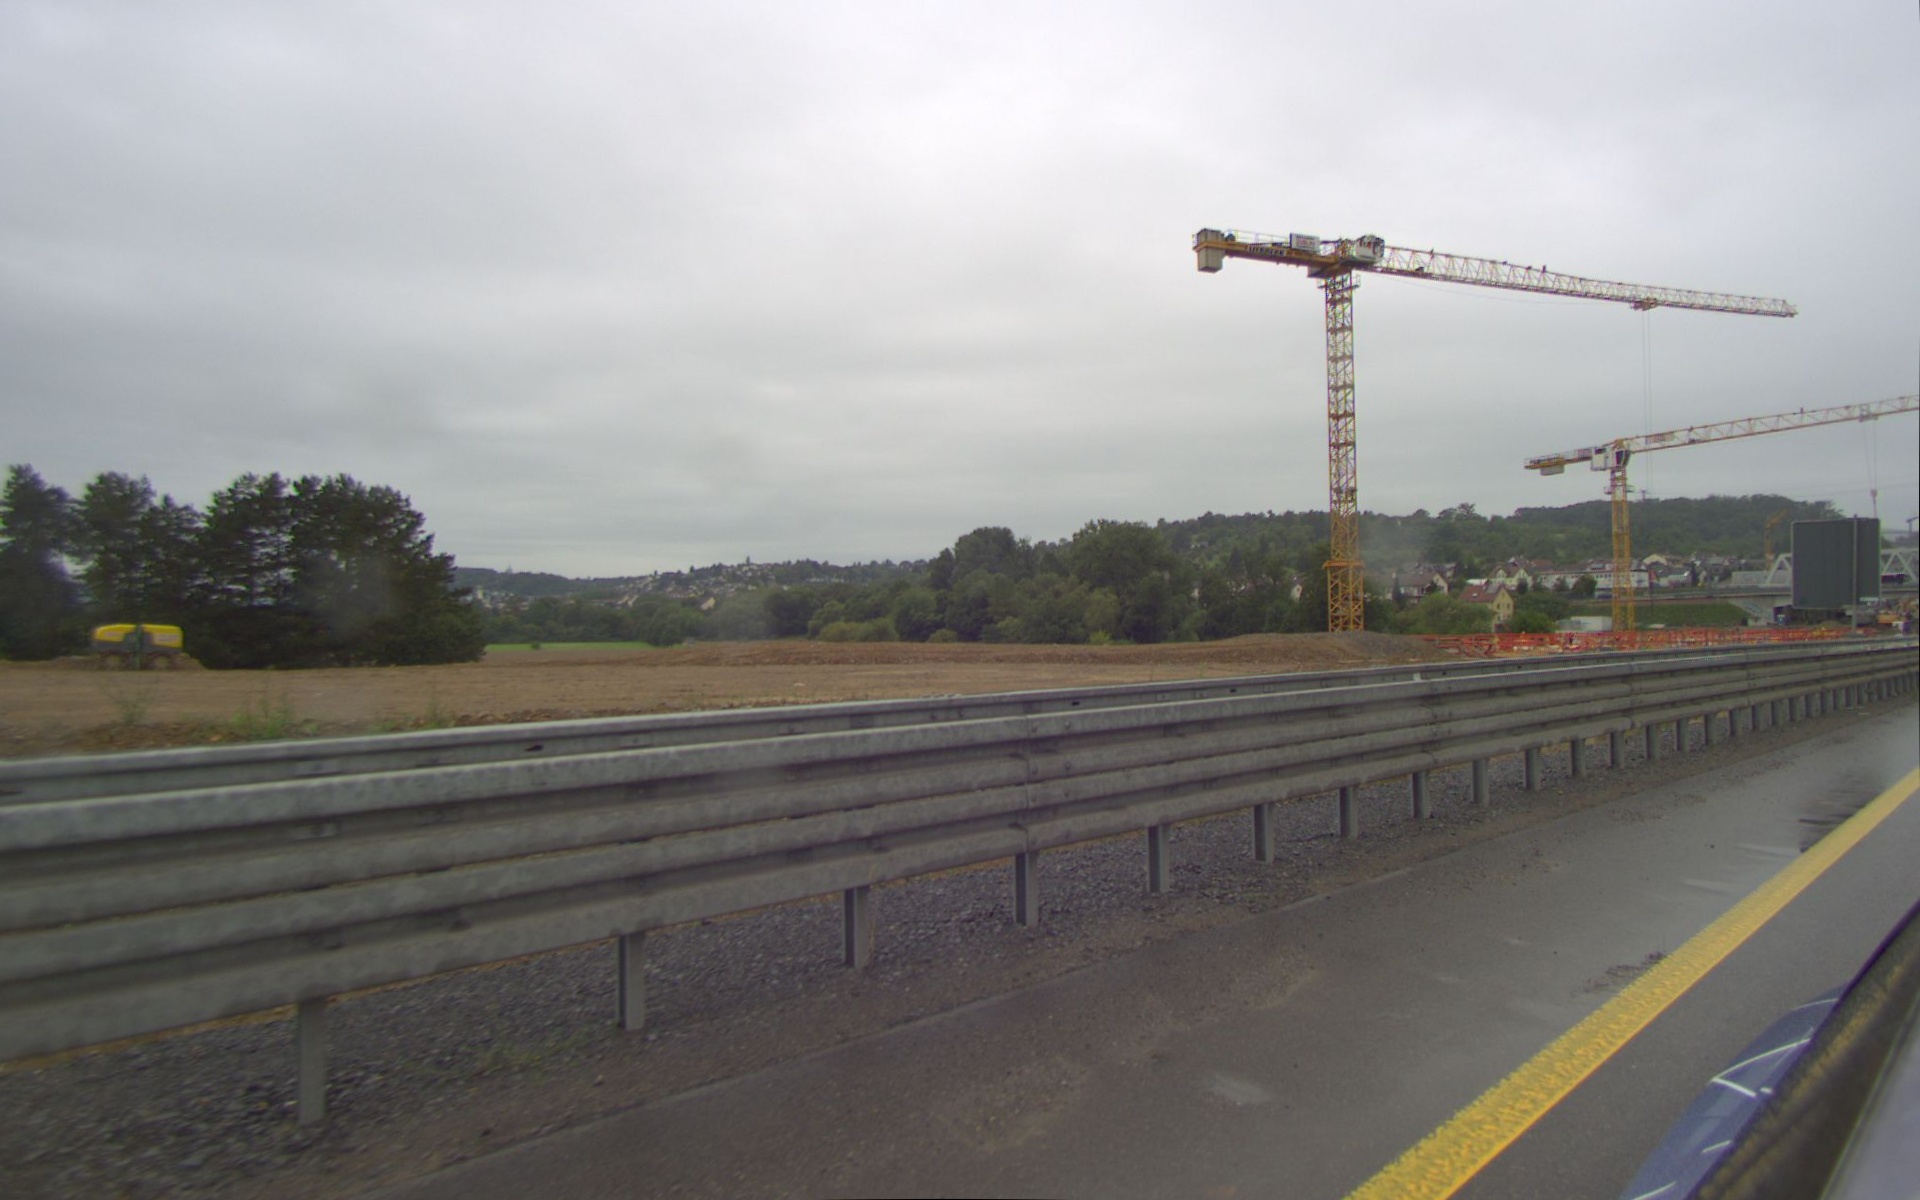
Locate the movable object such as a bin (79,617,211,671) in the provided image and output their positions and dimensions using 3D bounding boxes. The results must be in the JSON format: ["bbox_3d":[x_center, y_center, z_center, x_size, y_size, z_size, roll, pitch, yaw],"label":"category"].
[{"bbox_3d":[-22.000,1.151,27.344,1.388,1.317,2.663,0,0,45],"label":"movable object such as a bin"}]
